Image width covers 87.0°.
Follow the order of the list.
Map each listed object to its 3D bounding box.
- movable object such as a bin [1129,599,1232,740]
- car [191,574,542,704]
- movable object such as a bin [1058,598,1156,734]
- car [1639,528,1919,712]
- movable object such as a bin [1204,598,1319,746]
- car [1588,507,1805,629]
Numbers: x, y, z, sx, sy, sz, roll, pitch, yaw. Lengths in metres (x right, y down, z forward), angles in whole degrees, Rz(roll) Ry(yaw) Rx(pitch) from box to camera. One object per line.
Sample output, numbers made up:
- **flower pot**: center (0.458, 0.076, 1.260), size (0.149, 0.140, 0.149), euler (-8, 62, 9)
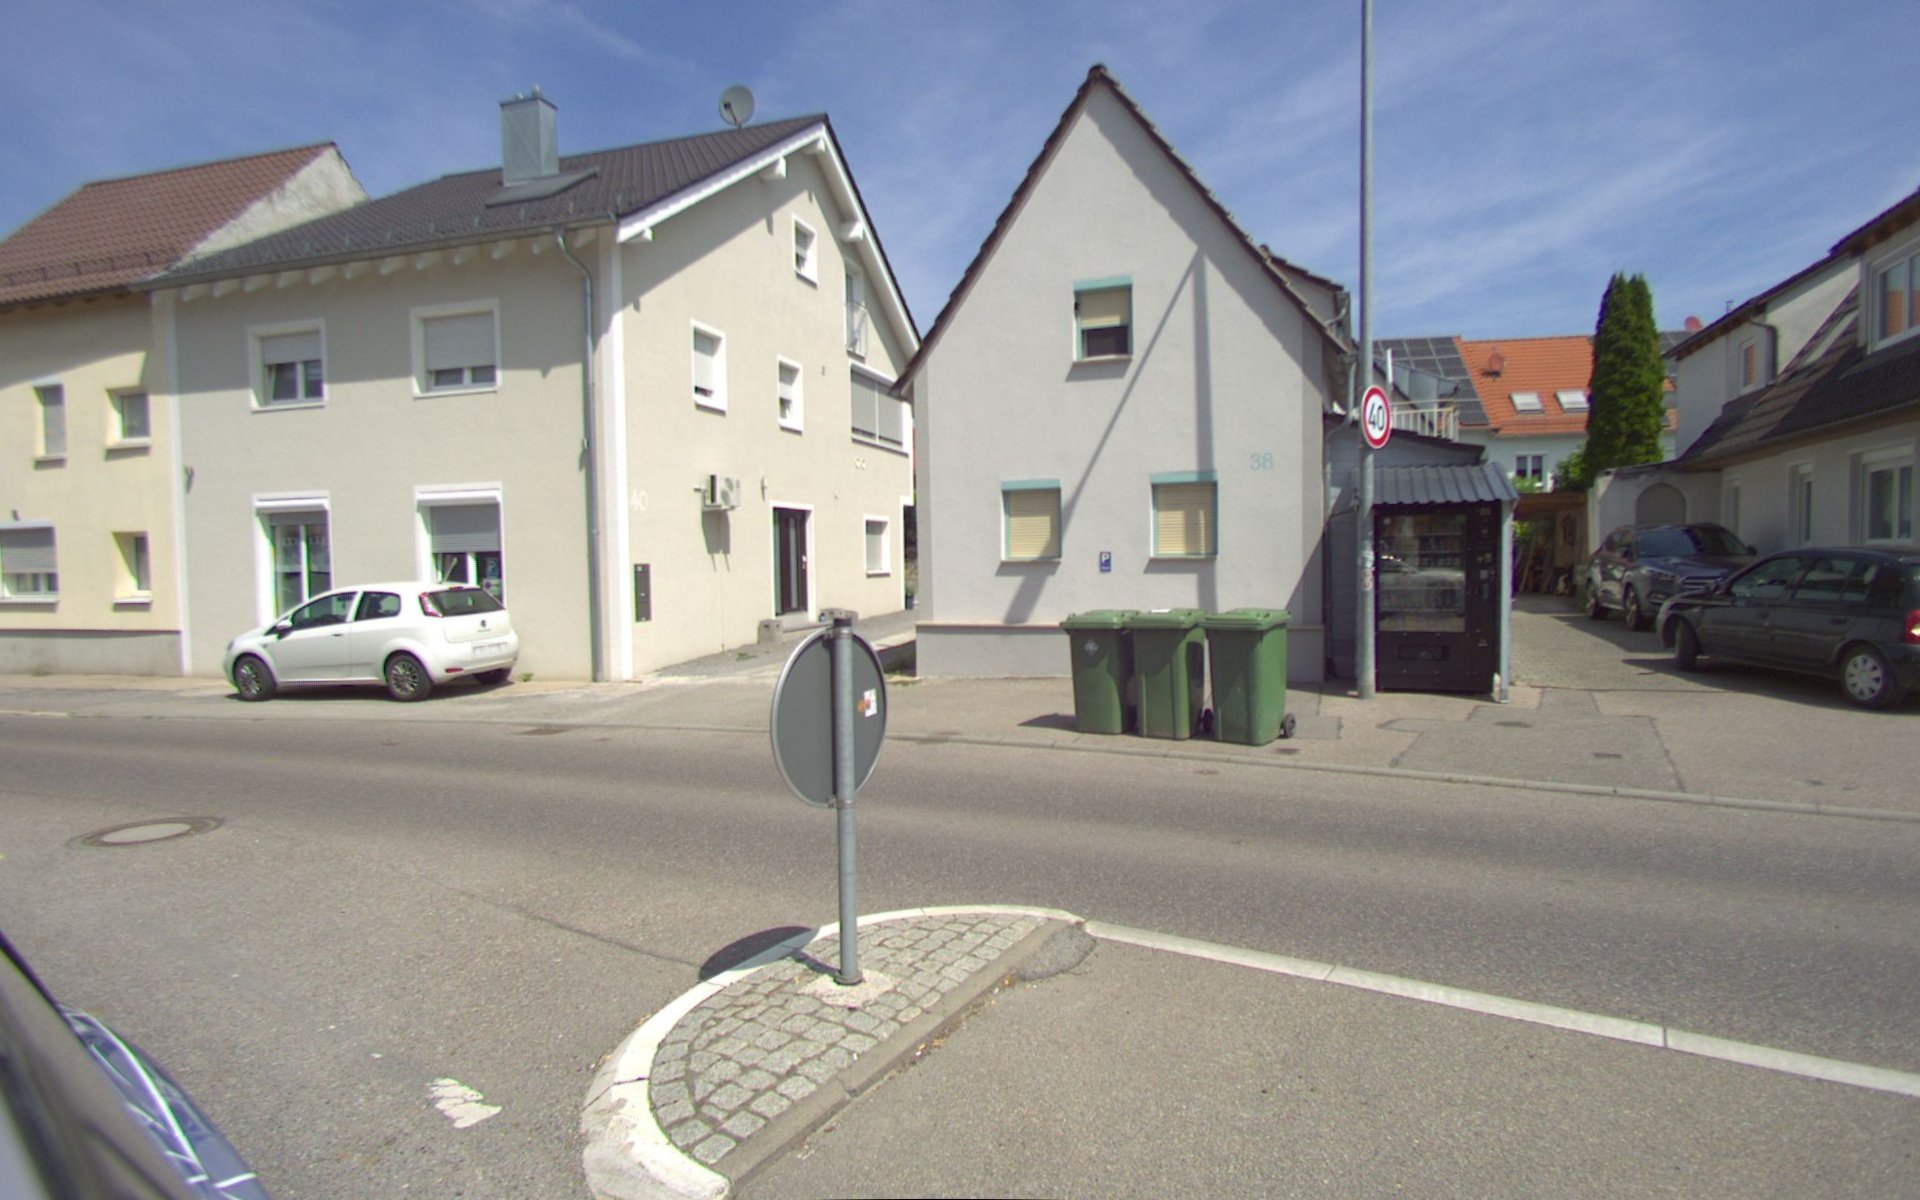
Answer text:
- **movable object such as a bin**: center (1.887, 0.564, 8.606), size (0.630, 1.084, 0.725), euler (-1, 4, 31)
- **car**: center (-7.988, 0.497, 13.732), size (3.964, 1.513, 1.817), euler (-1, 3, 16)
- **movable object such as a bin**: center (1.304, 0.561, 8.933), size (0.630, 1.101, 0.637), euler (-1, 4, 31)
- **car**: center (8.828, 0.063, 9.909), size (1.754, 1.451, 3.848), euler (-2, 4, 0)
- **movable object such as a bin**: center (2.449, 0.559, 8.195), size (0.723, 1.084, 0.676), euler (-1, 4, 31)
- **car**: center (11.489, -0.473, 16.102), size (1.988, 1.657, 3.840), euler (-1, 1, 24)
